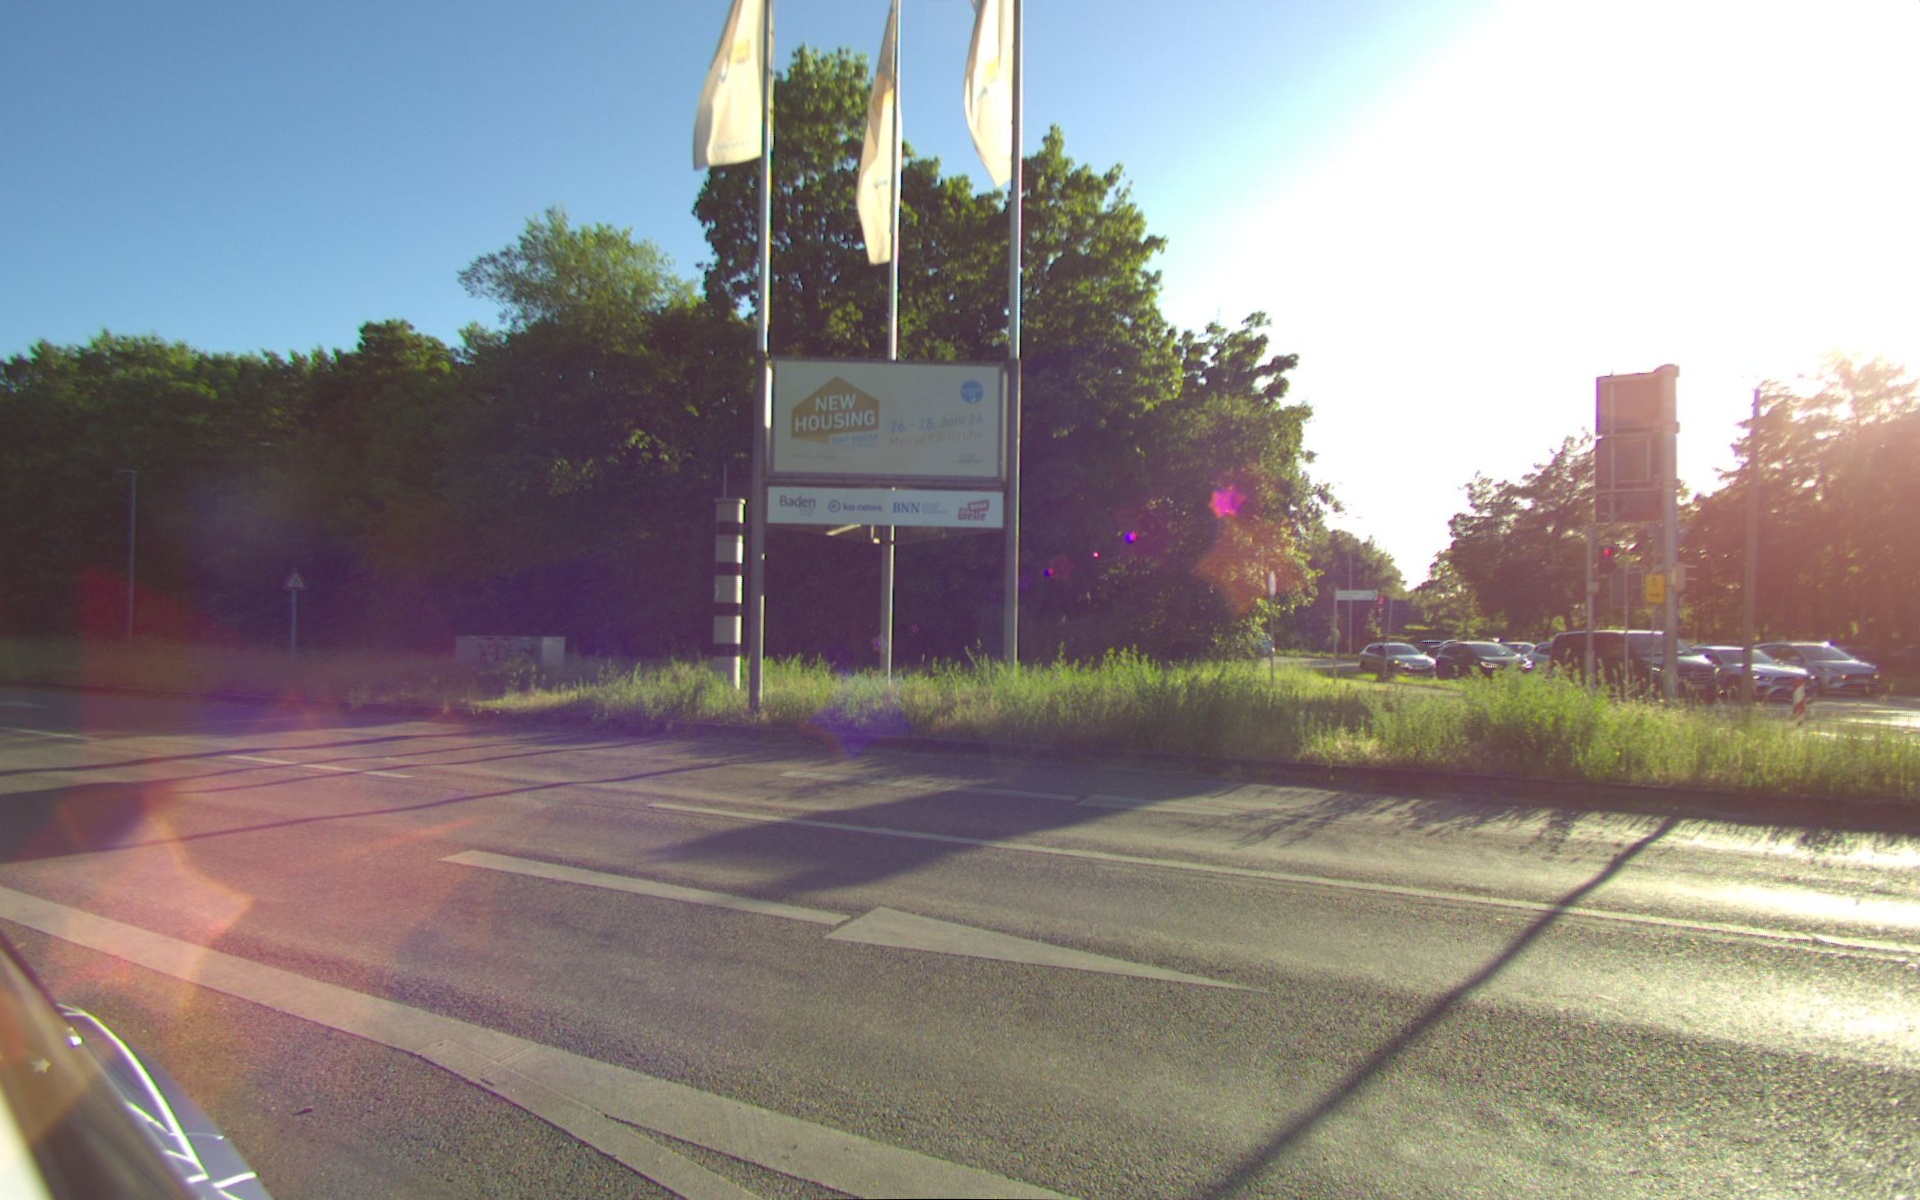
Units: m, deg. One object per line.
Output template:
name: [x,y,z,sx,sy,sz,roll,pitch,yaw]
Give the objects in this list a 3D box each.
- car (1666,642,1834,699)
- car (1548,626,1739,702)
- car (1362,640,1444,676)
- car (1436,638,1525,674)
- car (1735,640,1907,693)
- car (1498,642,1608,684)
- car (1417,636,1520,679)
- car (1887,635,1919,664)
car: [21.401,1.863,27.622,1.625,1.400,3.797,0,-2,2]
car: [18.310,1.656,27.460,1.902,1.844,4.930,0,-2,2]
car: [18.386,2.378,42.202,1.829,1.400,3.797,0,-2,2]
car: [21.914,2.328,42.760,1.829,1.400,3.797,0,-2,2]
car: [25.112,1.900,29.711,1.829,1.400,3.797,0,-2,2]
car: [21.594,2.263,37.044,1.829,1.400,3.797,0,-2,2]
car: [18.015,2.007,36.049,1.829,1.400,3.797,0,-2,2]
car: [54.072,2.729,55.806,3.934,1.612,1.805,0,-2,15]
